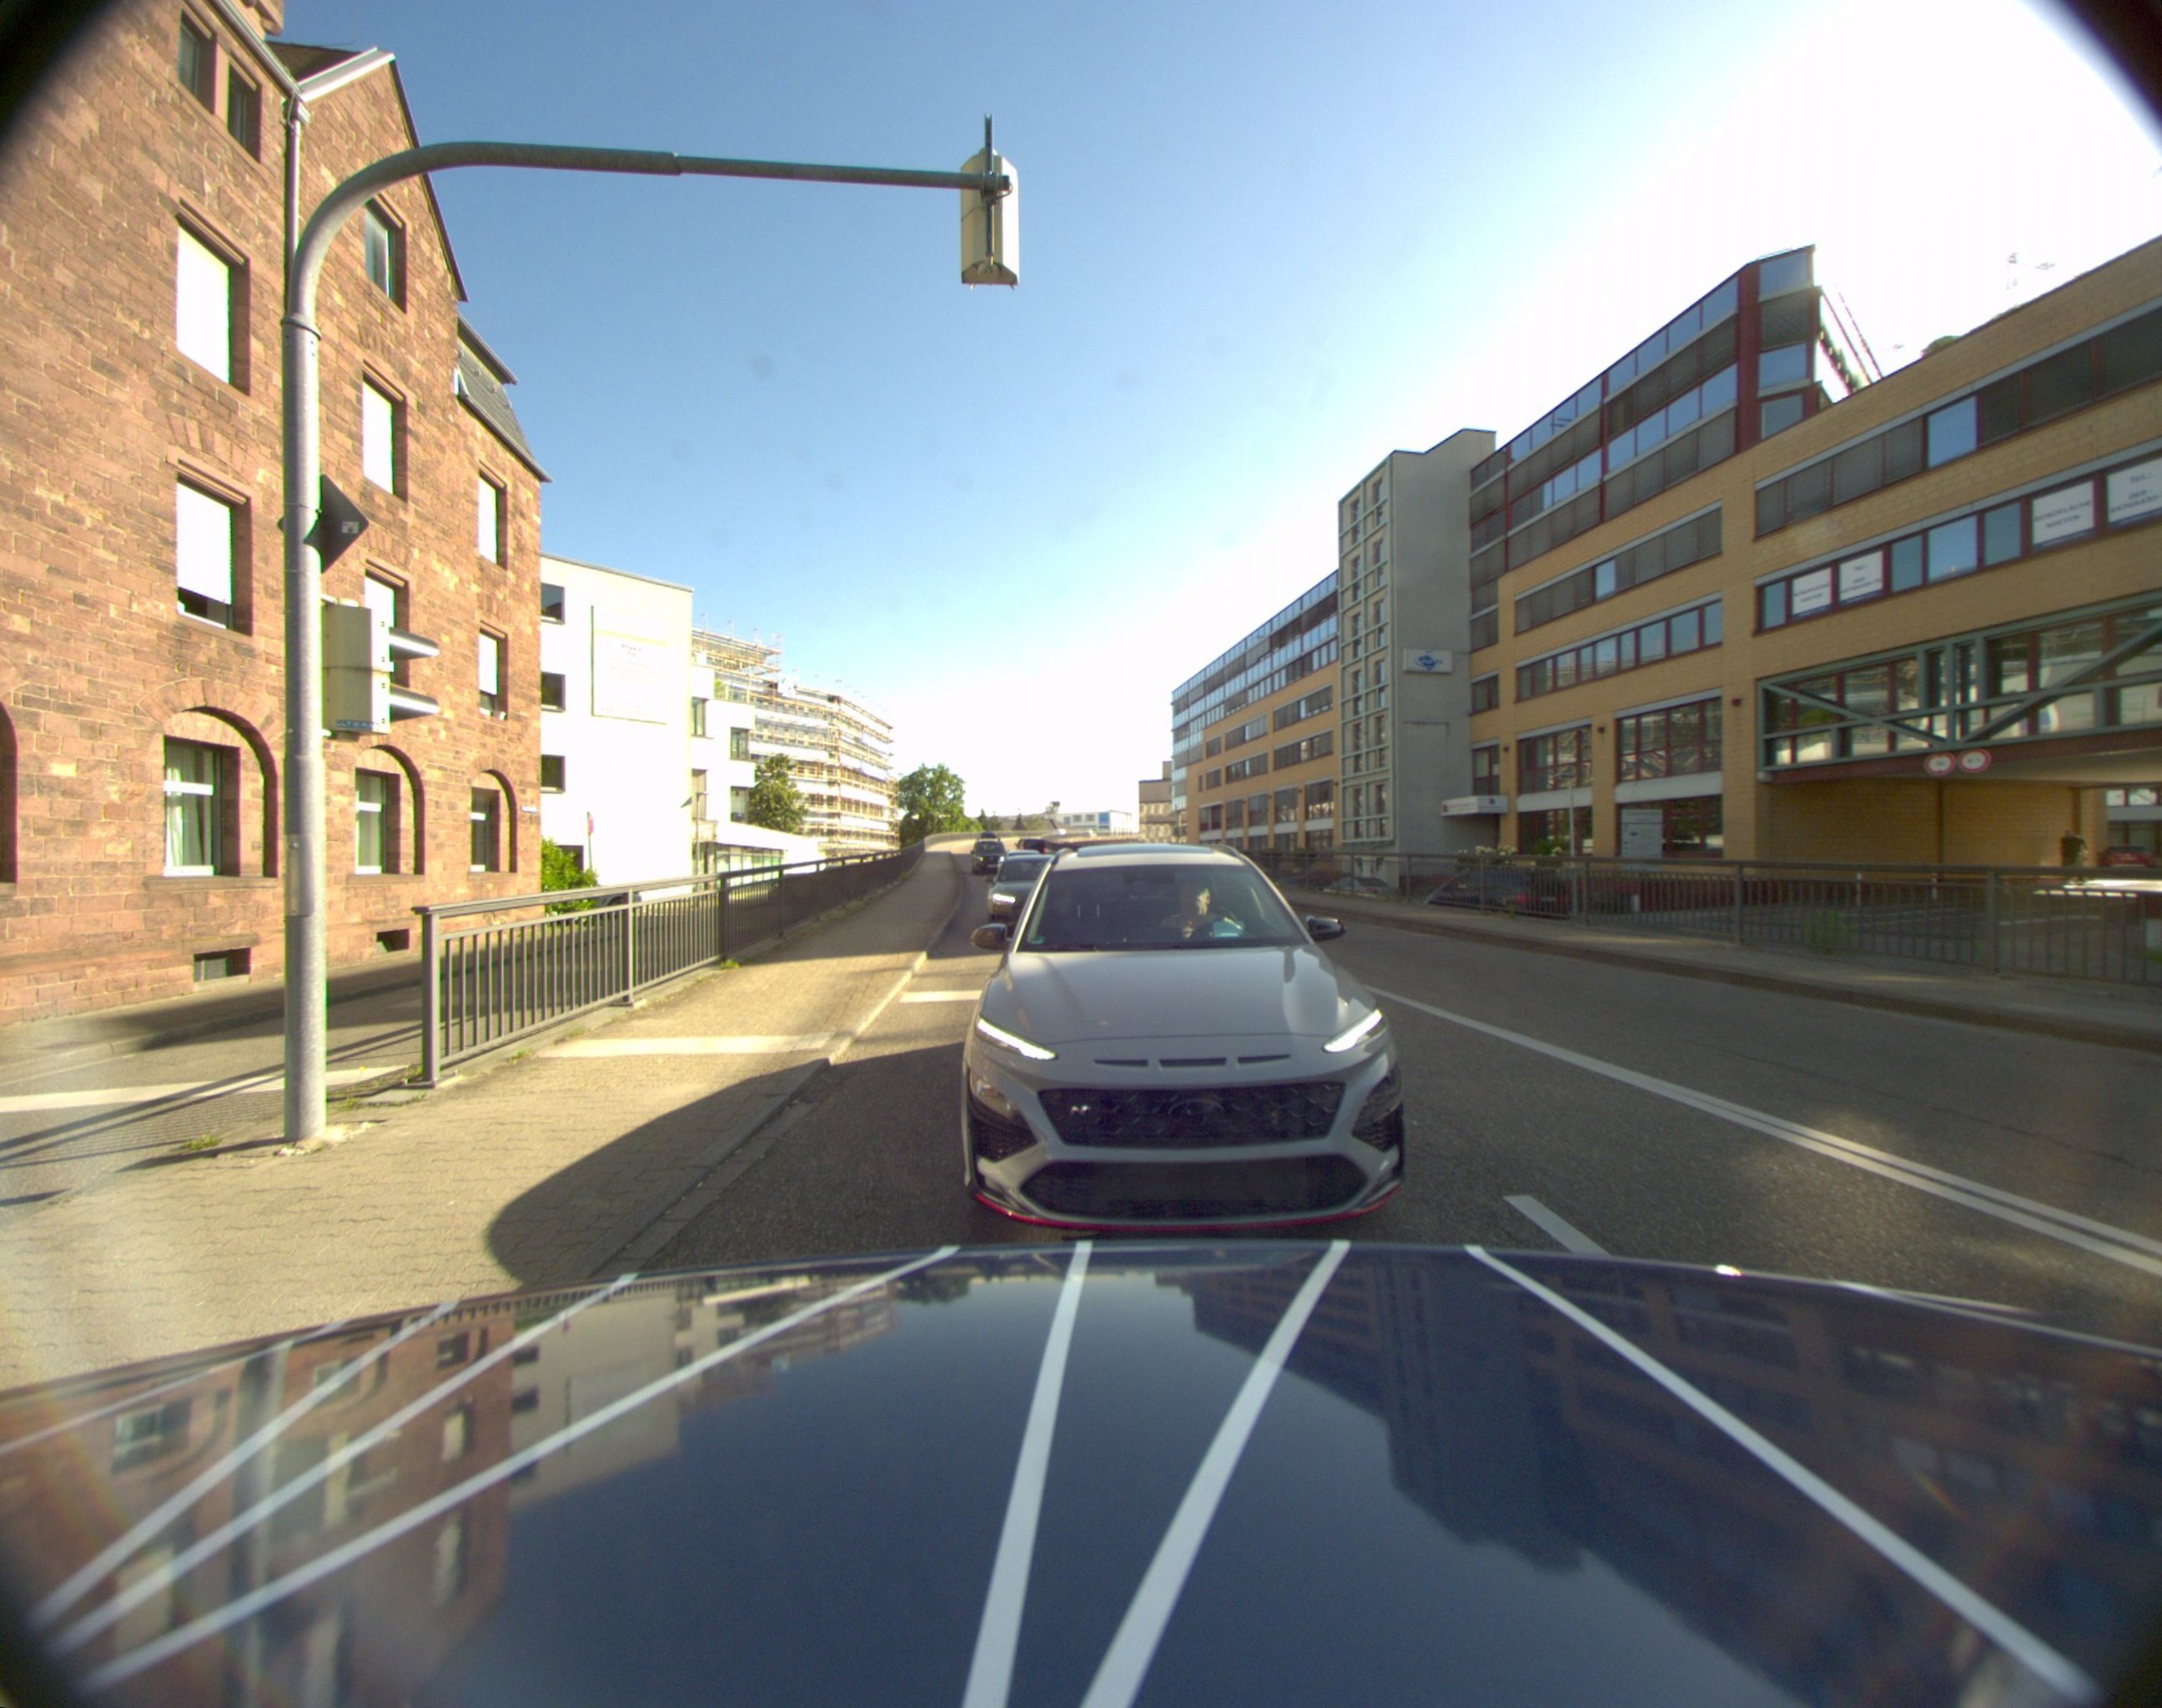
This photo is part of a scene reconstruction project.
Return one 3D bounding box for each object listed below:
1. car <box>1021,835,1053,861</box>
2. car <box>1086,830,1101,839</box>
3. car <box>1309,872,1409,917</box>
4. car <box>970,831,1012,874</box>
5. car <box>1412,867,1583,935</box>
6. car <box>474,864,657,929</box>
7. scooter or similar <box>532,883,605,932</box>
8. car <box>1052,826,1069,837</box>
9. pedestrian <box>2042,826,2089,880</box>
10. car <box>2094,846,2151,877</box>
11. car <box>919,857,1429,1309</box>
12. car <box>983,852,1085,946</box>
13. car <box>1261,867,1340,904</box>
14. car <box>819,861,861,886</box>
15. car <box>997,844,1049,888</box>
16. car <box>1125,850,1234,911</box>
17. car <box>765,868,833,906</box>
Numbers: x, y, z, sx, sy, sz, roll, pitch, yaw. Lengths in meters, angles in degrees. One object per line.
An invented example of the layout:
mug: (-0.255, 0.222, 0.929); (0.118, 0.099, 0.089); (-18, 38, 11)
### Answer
car: (-3.428, -0.427, 58.196); (2.000, 1.924, 4.848); (0, 0, -9)
car: (2.485, -3.893, 153.604); (1.822, 1.594, 4.006); (0, 0, 20)
car: (11.079, 1.564, 30.612); (1.826, 1.594, 4.353); (0, 0, -10)
car: (-4.952, -0.152, 41.270); (1.911, 2.201, 4.593); (-1, 2, -11)
car: (12.399, 1.305, 23.030); (1.957, 1.747, 4.683); (-1, 0, -11)
car: (-16.985, 1.303, 25.229); (1.823, 1.757, 4.658); (1, 2, 42)
scooter or similar: (-14.278, 1.474, 21.214); (1.463, 1.212, 0.784); (-3, 1, -14)
car: (-3.641, -4.096, 137.370); (1.812, 1.791, 5.126); (0, 0, 14)
pedestrian: (33.402, -0.031, 25.782); (0.787, 1.833, 0.678); (0, 0, -12)
car: (53.692, 0.392, 39.225); (3.159, 1.564, 1.639); (0, -1, -38)
car: (0.337, 0.851, 4.894); (1.849, 1.561, 4.220); (-1, 1, 0)
car: (-0.884, 0.777, 15.219); (1.721, 1.483, 4.167); (-1, 2, -2)
car: (10.274, 1.425, 35.924); (1.826, 1.594, 4.353); (0, 0, -10)
car: (-15.534, 1.241, 49.184); (1.850, 1.526, 3.997); (0, 0, -7)
car: (-2.397, 0.424, 30.508); (1.850, 1.527, 4.504); (-1, 2, -7)
car: (2.700, 0.666, 21.963); (1.826, 1.495, 4.445); (0, 1, -11)
car: (-13.050, 1.495, 35.437); (1.850, 1.422, 4.678); (-1, 2, -6)
